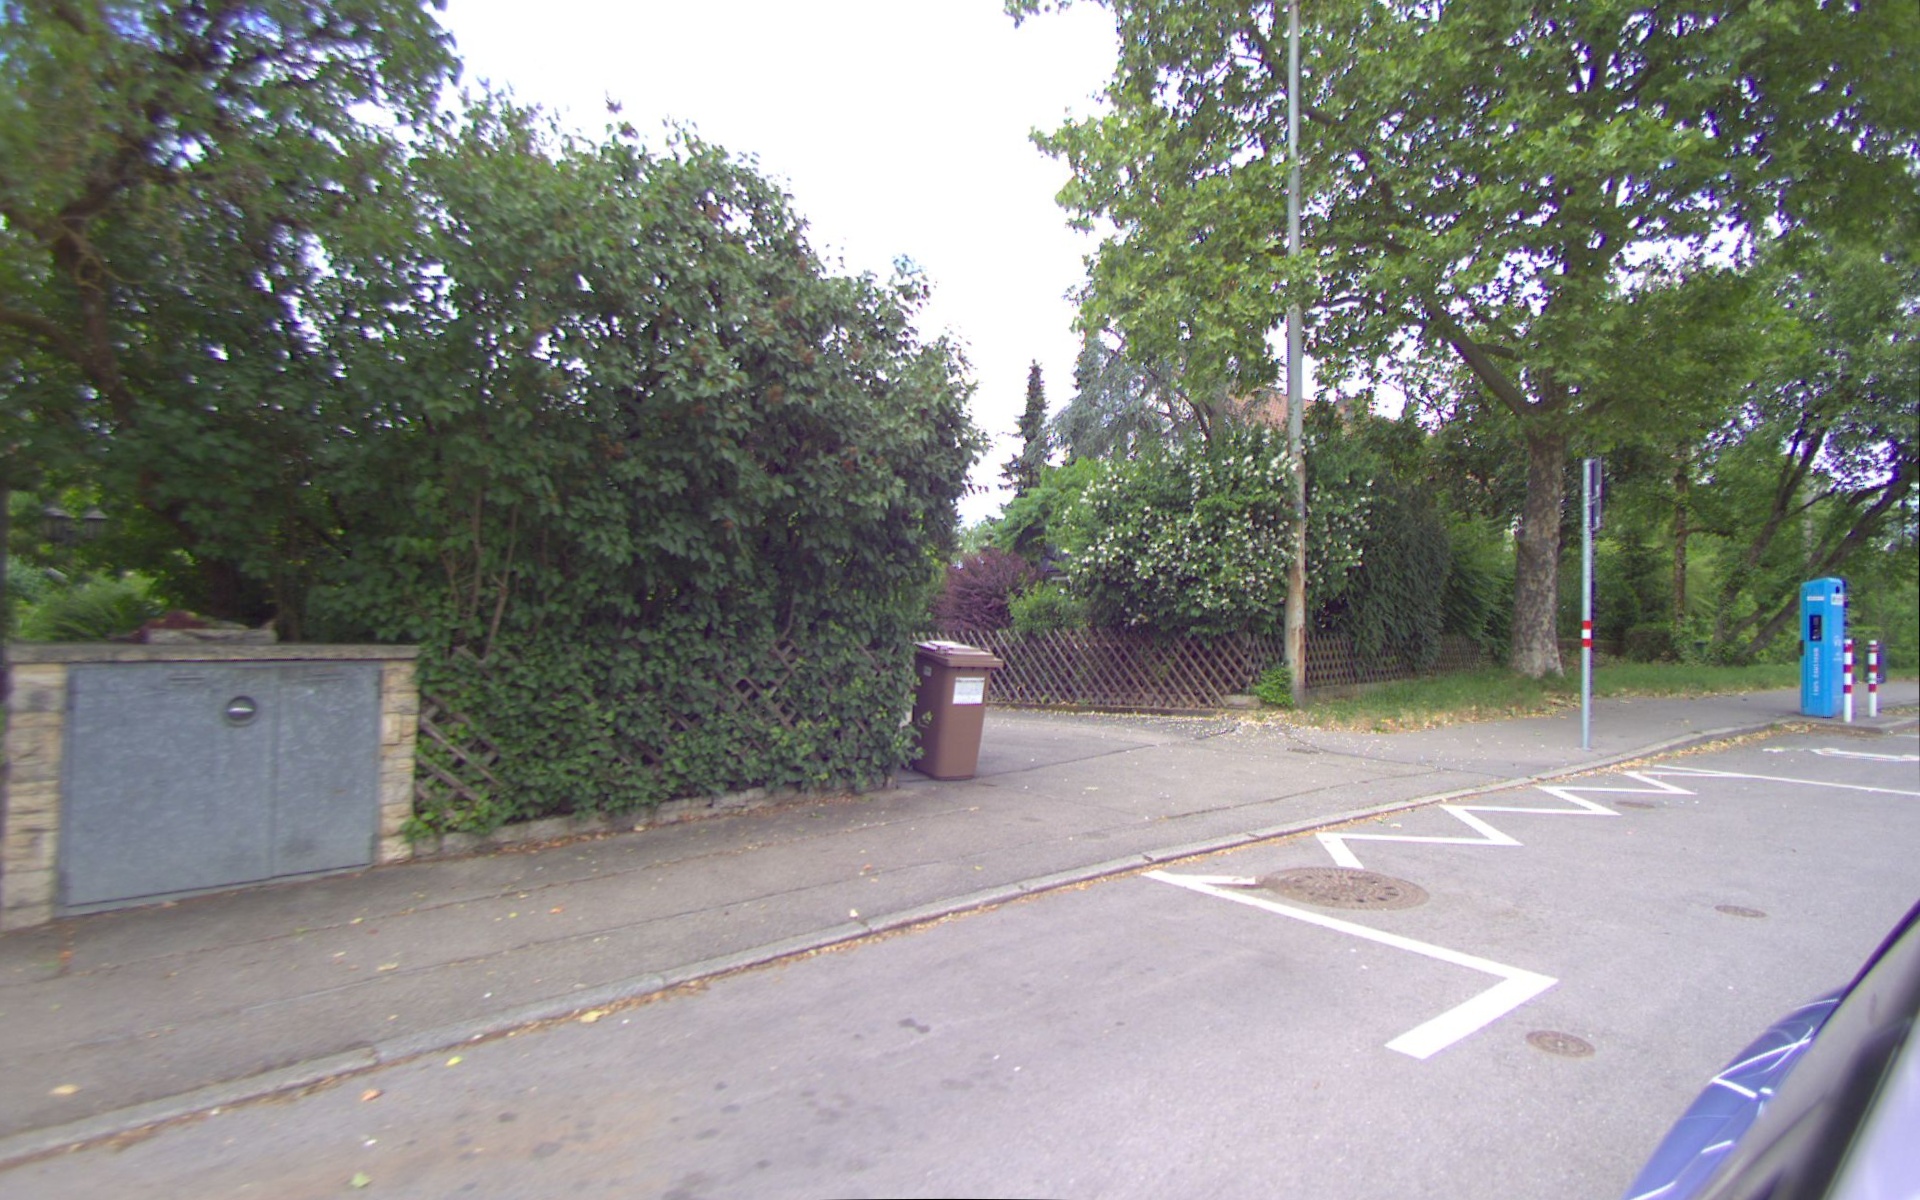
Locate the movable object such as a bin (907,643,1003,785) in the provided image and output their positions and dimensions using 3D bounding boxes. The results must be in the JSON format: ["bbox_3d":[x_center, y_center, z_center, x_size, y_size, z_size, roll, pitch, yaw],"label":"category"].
[{"bbox_3d":[-0.047,0.900,8.283,0.557,1.083,0.606,1,-2,-32],"label":"movable object such as a bin"}]
